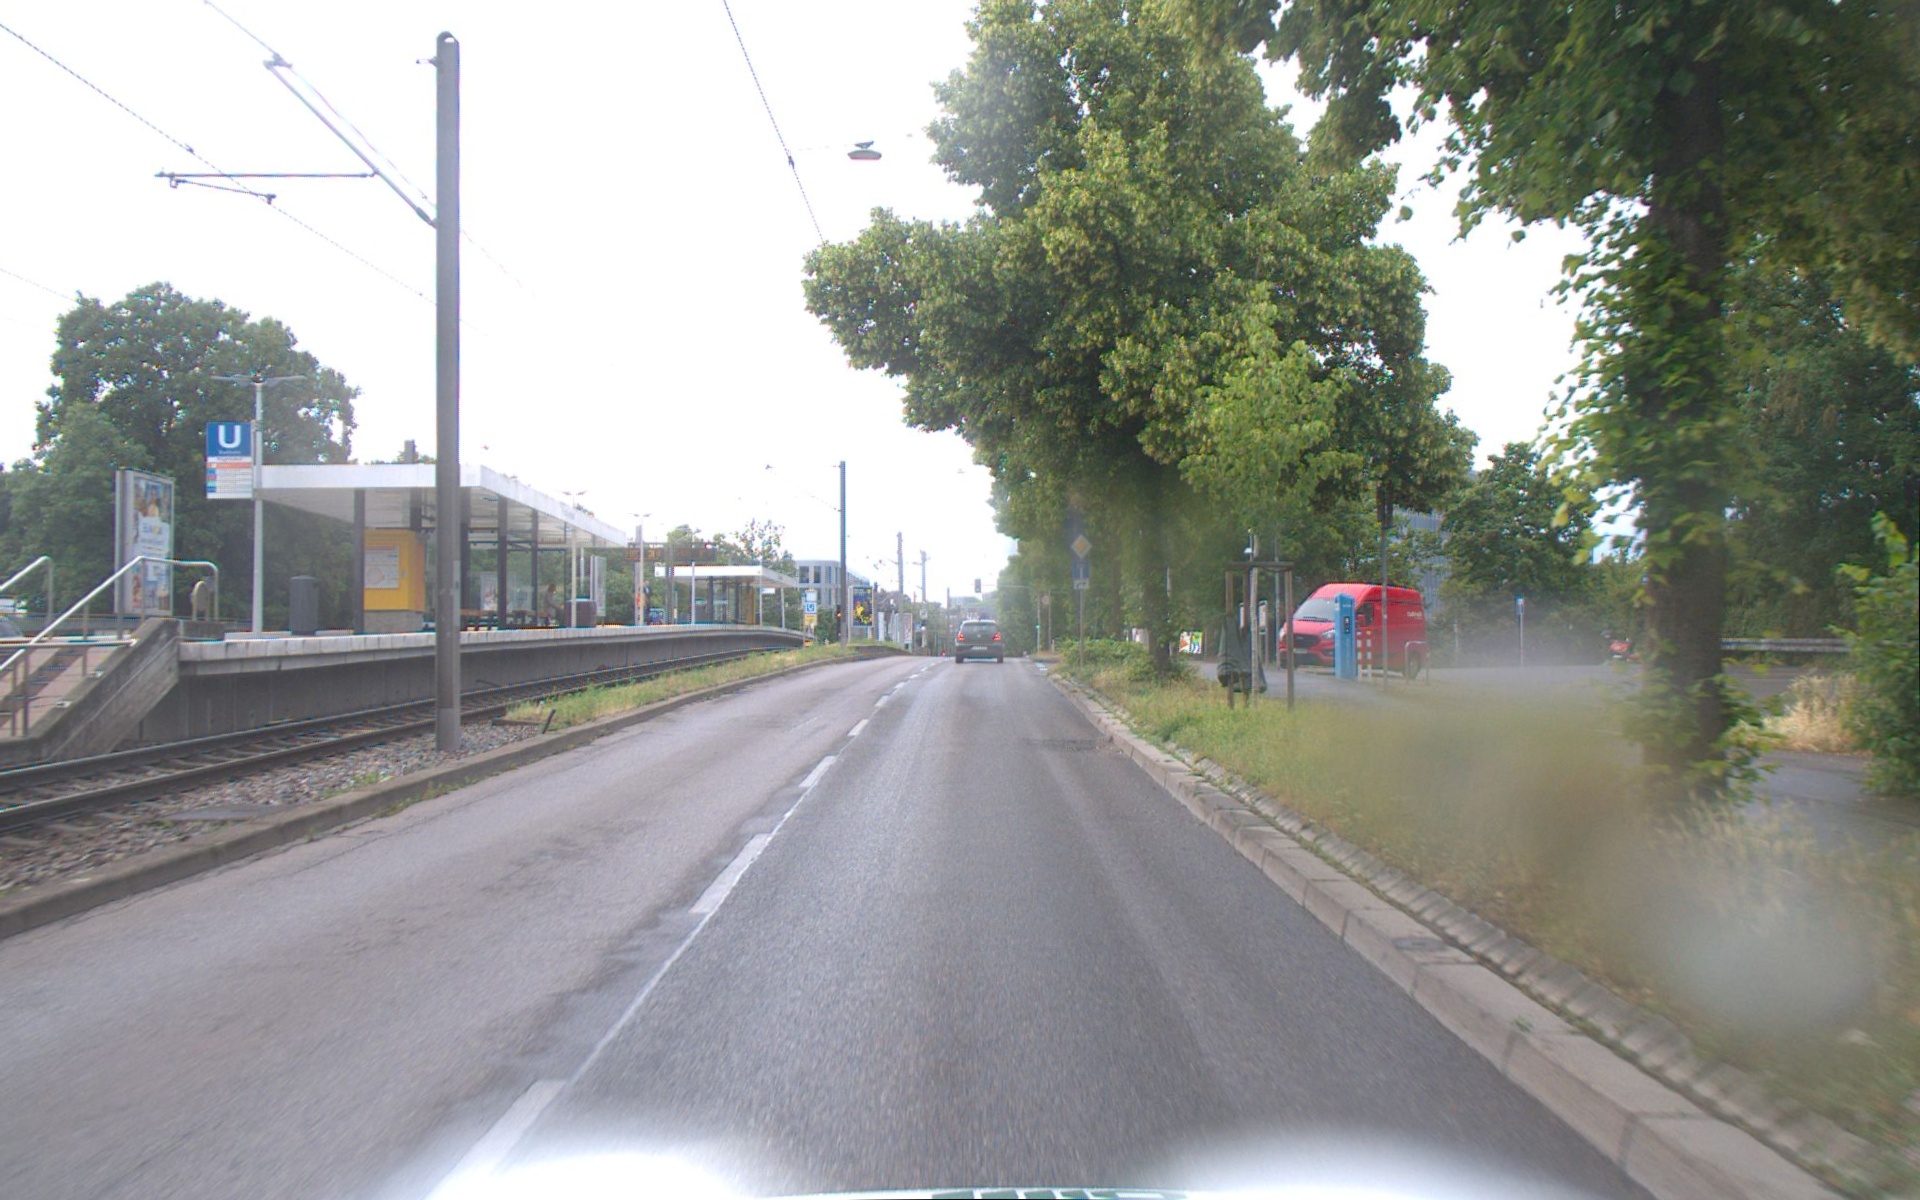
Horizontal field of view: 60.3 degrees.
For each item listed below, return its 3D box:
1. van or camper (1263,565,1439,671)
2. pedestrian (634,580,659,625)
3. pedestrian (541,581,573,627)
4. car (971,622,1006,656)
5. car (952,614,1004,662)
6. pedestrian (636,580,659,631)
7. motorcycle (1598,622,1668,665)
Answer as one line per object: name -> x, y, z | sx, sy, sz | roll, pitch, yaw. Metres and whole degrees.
van or camper -> 10.259, 0.507, 43.088 | 2.006, 2.448, 5.356 | 3, 0, 43
pedestrian -> -12.009, 0.093, 63.300 | 0.783, 1.676, 0.913 | 1, 1, -20
pedestrian -> -10.977, 0.101, 45.030 | 0.696, 1.247, 0.619 | 0, -1, 0
car -> 1.354, 1.843, 79.559 | 1.653, 1.544, 4.000 | 0, 0, 0
car -> 0.602, 1.284, 57.085 | 1.691, 1.567, 3.999 | 0, 0, -1
pedestrian -> -12.144, 0.203, 64.294 | 0.732, 1.943, 0.837 | 1, 1, -20
motorcycle -> 21.194, 1.368, 52.129 | 1.986, 1.235, 0.471 | -5, -9, 40
